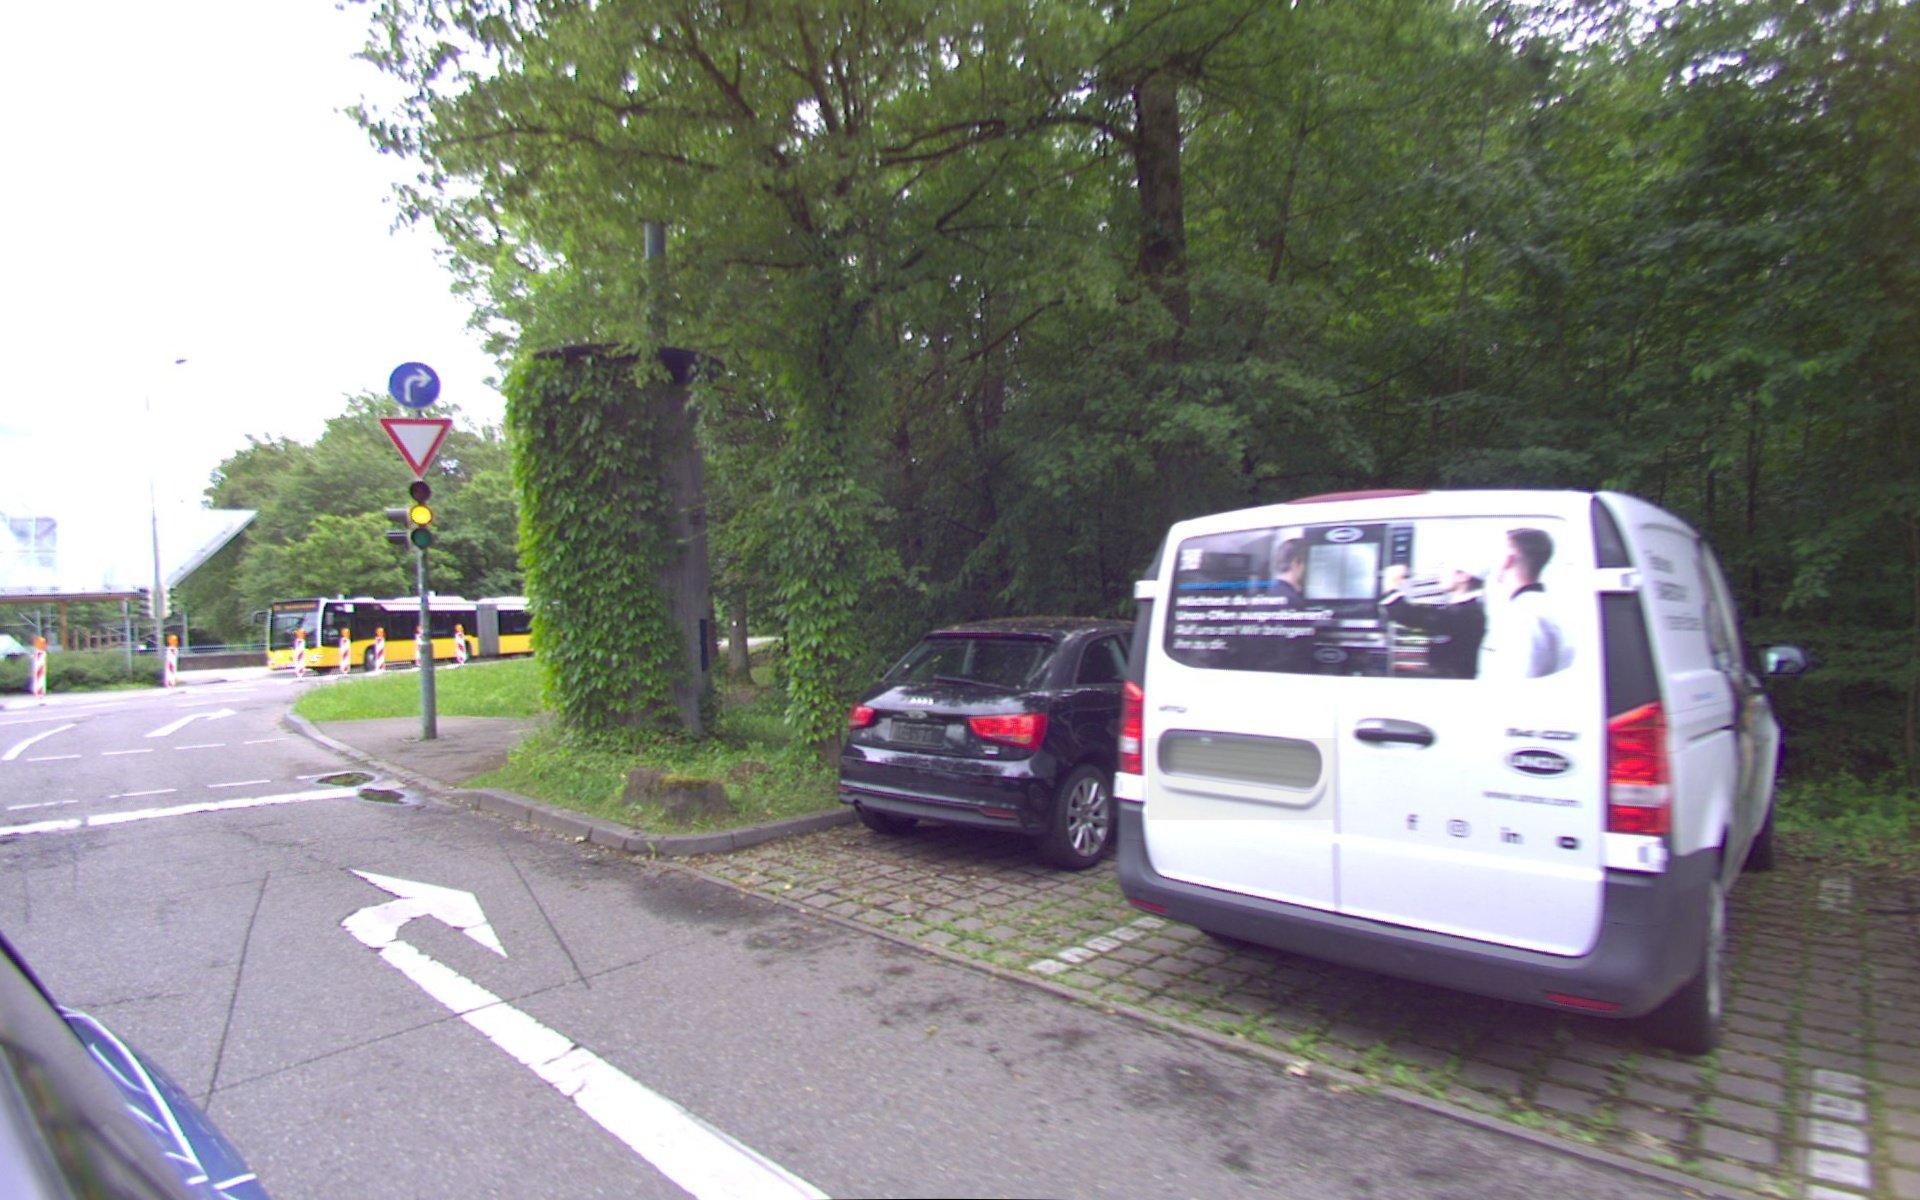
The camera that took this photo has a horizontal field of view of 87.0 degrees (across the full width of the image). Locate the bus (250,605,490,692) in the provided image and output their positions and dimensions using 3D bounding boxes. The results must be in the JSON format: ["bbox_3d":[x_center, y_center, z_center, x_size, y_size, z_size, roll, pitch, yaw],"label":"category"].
[{"bbox_3d":[-25.018,1.908,43.896,2.782,3.183,10.483,-4,-1,10],"label":"bus"}]

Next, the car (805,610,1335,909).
[{"bbox_3d":[1.007,0.834,7.092,1.722,1.389,3.945,-2,-1,41],"label":"car"}]

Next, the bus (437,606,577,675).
[{"bbox_3d":[-23.432,1.995,52.888,2.781,3.183,7.733,-4,-1,10],"label":"bus"}]

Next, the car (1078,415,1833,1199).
[{"bbox_3d":[2.848,0.547,4.910,1.978,1.930,5.032,-2,-1,42],"label":"car"}]
